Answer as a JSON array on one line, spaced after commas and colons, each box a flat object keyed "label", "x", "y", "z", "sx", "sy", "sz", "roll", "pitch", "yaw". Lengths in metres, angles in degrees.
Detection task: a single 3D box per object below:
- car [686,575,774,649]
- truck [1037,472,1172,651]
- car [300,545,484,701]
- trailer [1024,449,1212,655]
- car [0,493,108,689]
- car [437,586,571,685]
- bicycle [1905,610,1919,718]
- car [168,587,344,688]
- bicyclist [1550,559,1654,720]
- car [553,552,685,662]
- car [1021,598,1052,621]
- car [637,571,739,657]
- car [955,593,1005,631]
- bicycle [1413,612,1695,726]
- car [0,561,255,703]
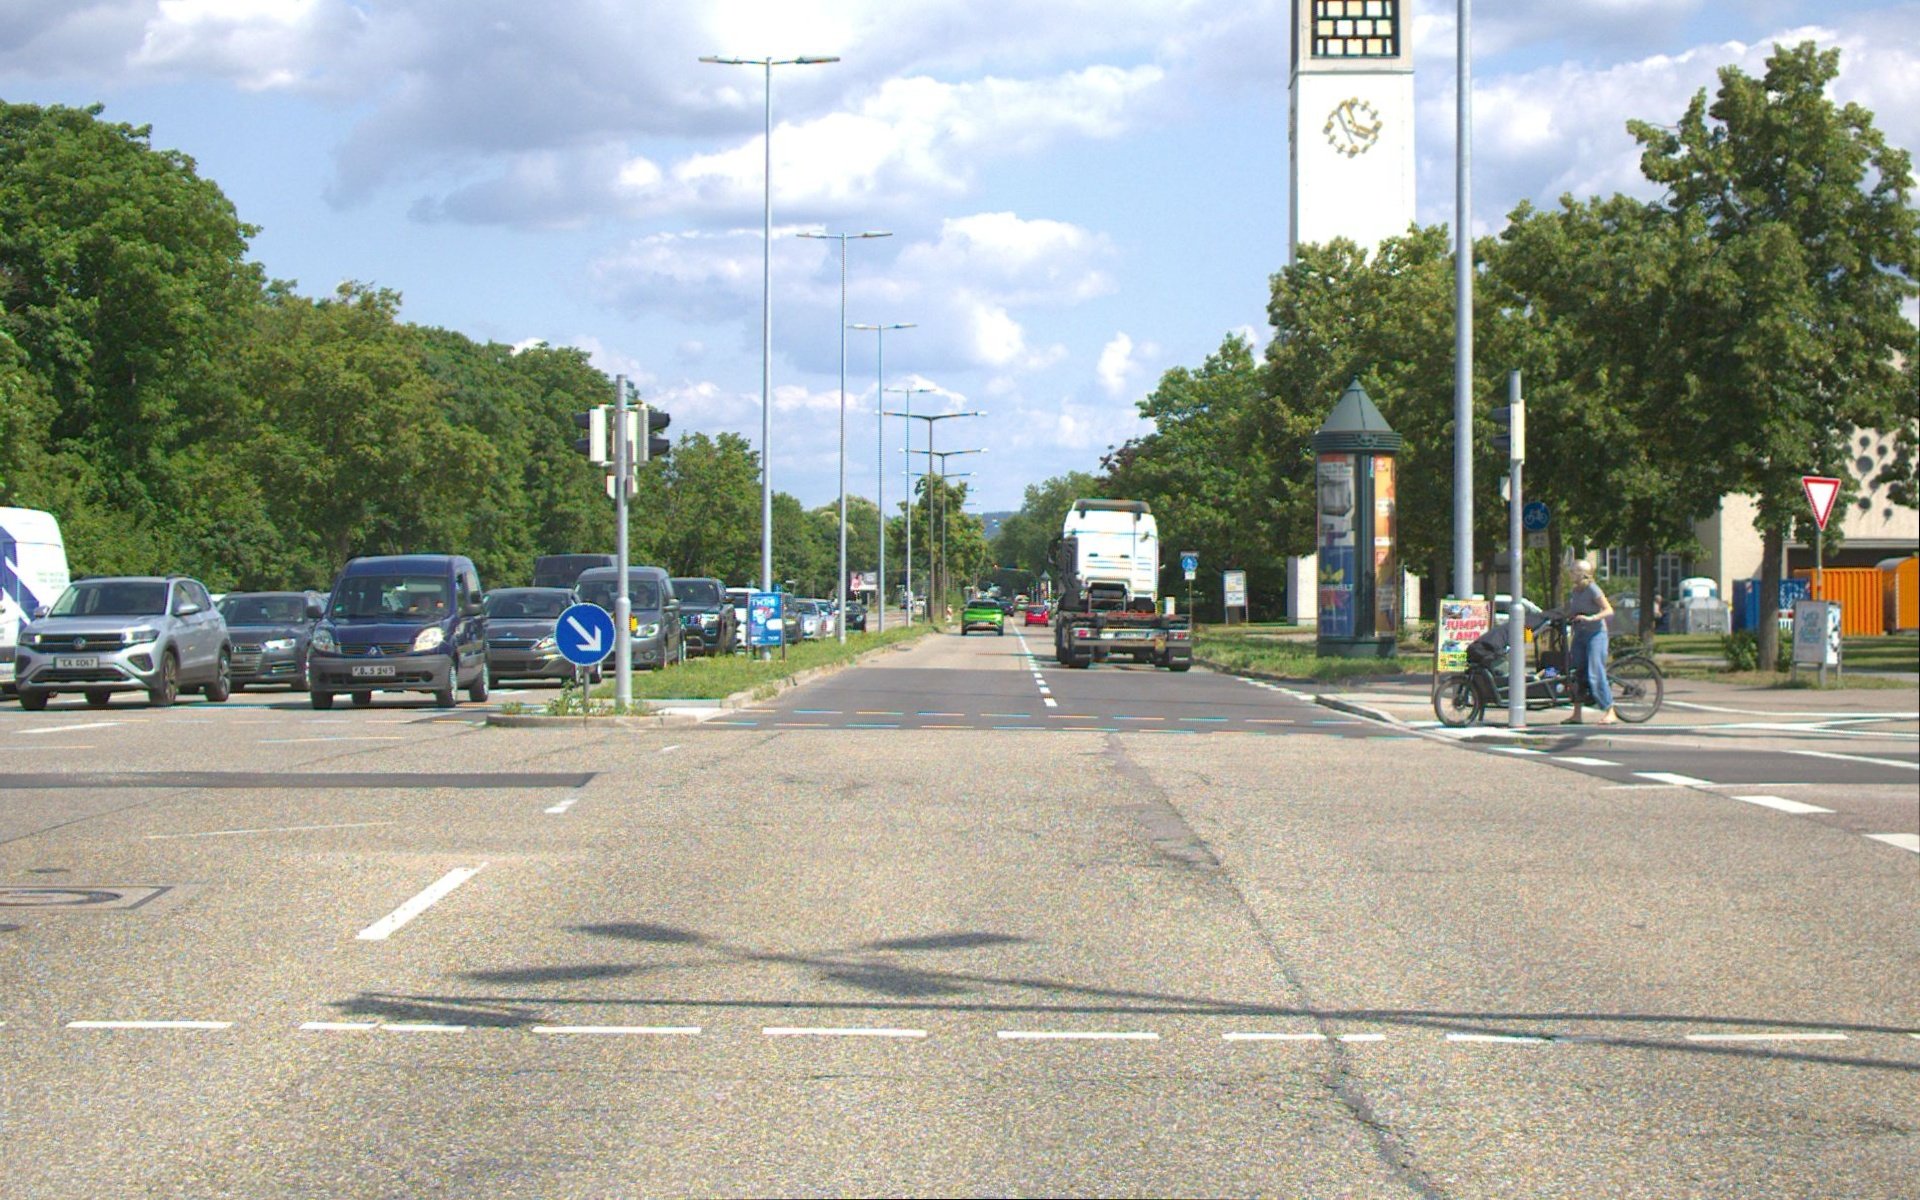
[{"label": "car", "x": -5.475, "y": 0.285, "z": 82.342, "sx": 1.734, "sy": 1.654, "sz": 4.231, "roll": 2, "pitch": 0, "yaw": 0}, {"label": "truck", "x": 3.496, "y": -0.832, "z": 81.160, "sx": 2.960, "sy": 3.957, "sz": 8.636, "roll": 1, "pitch": 0, "yaw": 4}, {"label": "car", "x": -6.532, "y": 0.248, "z": 39.908, "sx": 1.734, "sy": 1.654, "sz": 4.232, "roll": 2, "pitch": 0, "yaw": -5}, {"label": "trailer", "x": 3.451, "y": -0.906, "z": 73.033, "sx": 3.621, "sy": 3.998, "sz": 11.317, "roll": 1, "pitch": 0, "yaw": 4}, {"label": "car", "x": -13.082, "y": -0.149, "z": 44.581, "sx": 2.174, "sy": 2.463, "sz": 5.966, "roll": 2, "pitch": 0, "yaw": 4}, {"label": "car", "x": -6.490, "y": 0.484, "z": 49.174, "sx": 1.568, "sy": 1.311, "sz": 3.432, "roll": 2, "pitch": 0, "yaw": -3}, {"label": "bicycle", "x": 10.507, "y": 0.647, "z": 35.243, "sx": 0.685, "sy": 1.090, "sz": 1.998, "roll": 1, "pitch": 0, "yaw": 44}, {"label": "car", "x": -9.762, "y": 0.505, "z": 47.889, "sx": 1.763, "sy": 1.347, "sz": 3.519, "roll": 0, "pitch": 0, "yaw": -1}, {"label": "bicyclist", "x": 6.516, "y": 0.396, "z": 34.910, "sx": 0.698, "sy": 1.610, "sz": 0.797, "roll": 0, "pitch": 1, "yaw": -24}, {"label": "car", "x": -5.600, "y": 0.076, "z": 56.863, "sx": 1.734, "sy": 1.654, "sz": 4.231, "roll": 2, "pitch": 1, "yaw": 0}, {"label": "car", "x": 5.325, "y": 0.668, "z": 239.782, "sx": 1.993, "sy": 1.547, "sz": 4.000, "roll": 2, "pitch": 0, "yaw": -1}, {"label": "car", "x": -5.564, "y": 0.281, "z": 70.759, "sx": 1.734, "sy": 1.654, "sz": 4.231, "roll": 2, "pitch": 0, "yaw": -1}, {"label": "car", "x": 0.829, "y": 0.501, "z": 145.259, "sx": 1.993, "sy": 1.547, "sz": 4.000, "roll": 2, "pitch": 0, "yaw": -1}, {"label": "bicycle", "x": 6.003, "y": 0.683, "z": 34.694, "sx": 2.832, "sy": 1.108, "sz": 0.797, "roll": 0, "pitch": 1, "yaw": -24}, {"label": "car", "x": -9.883, "y": 0.366, "z": 41.103, "sx": 1.735, "sy": 1.538, "sz": 4.308, "roll": 2, "pitch": 0, "yaw": 4}]
